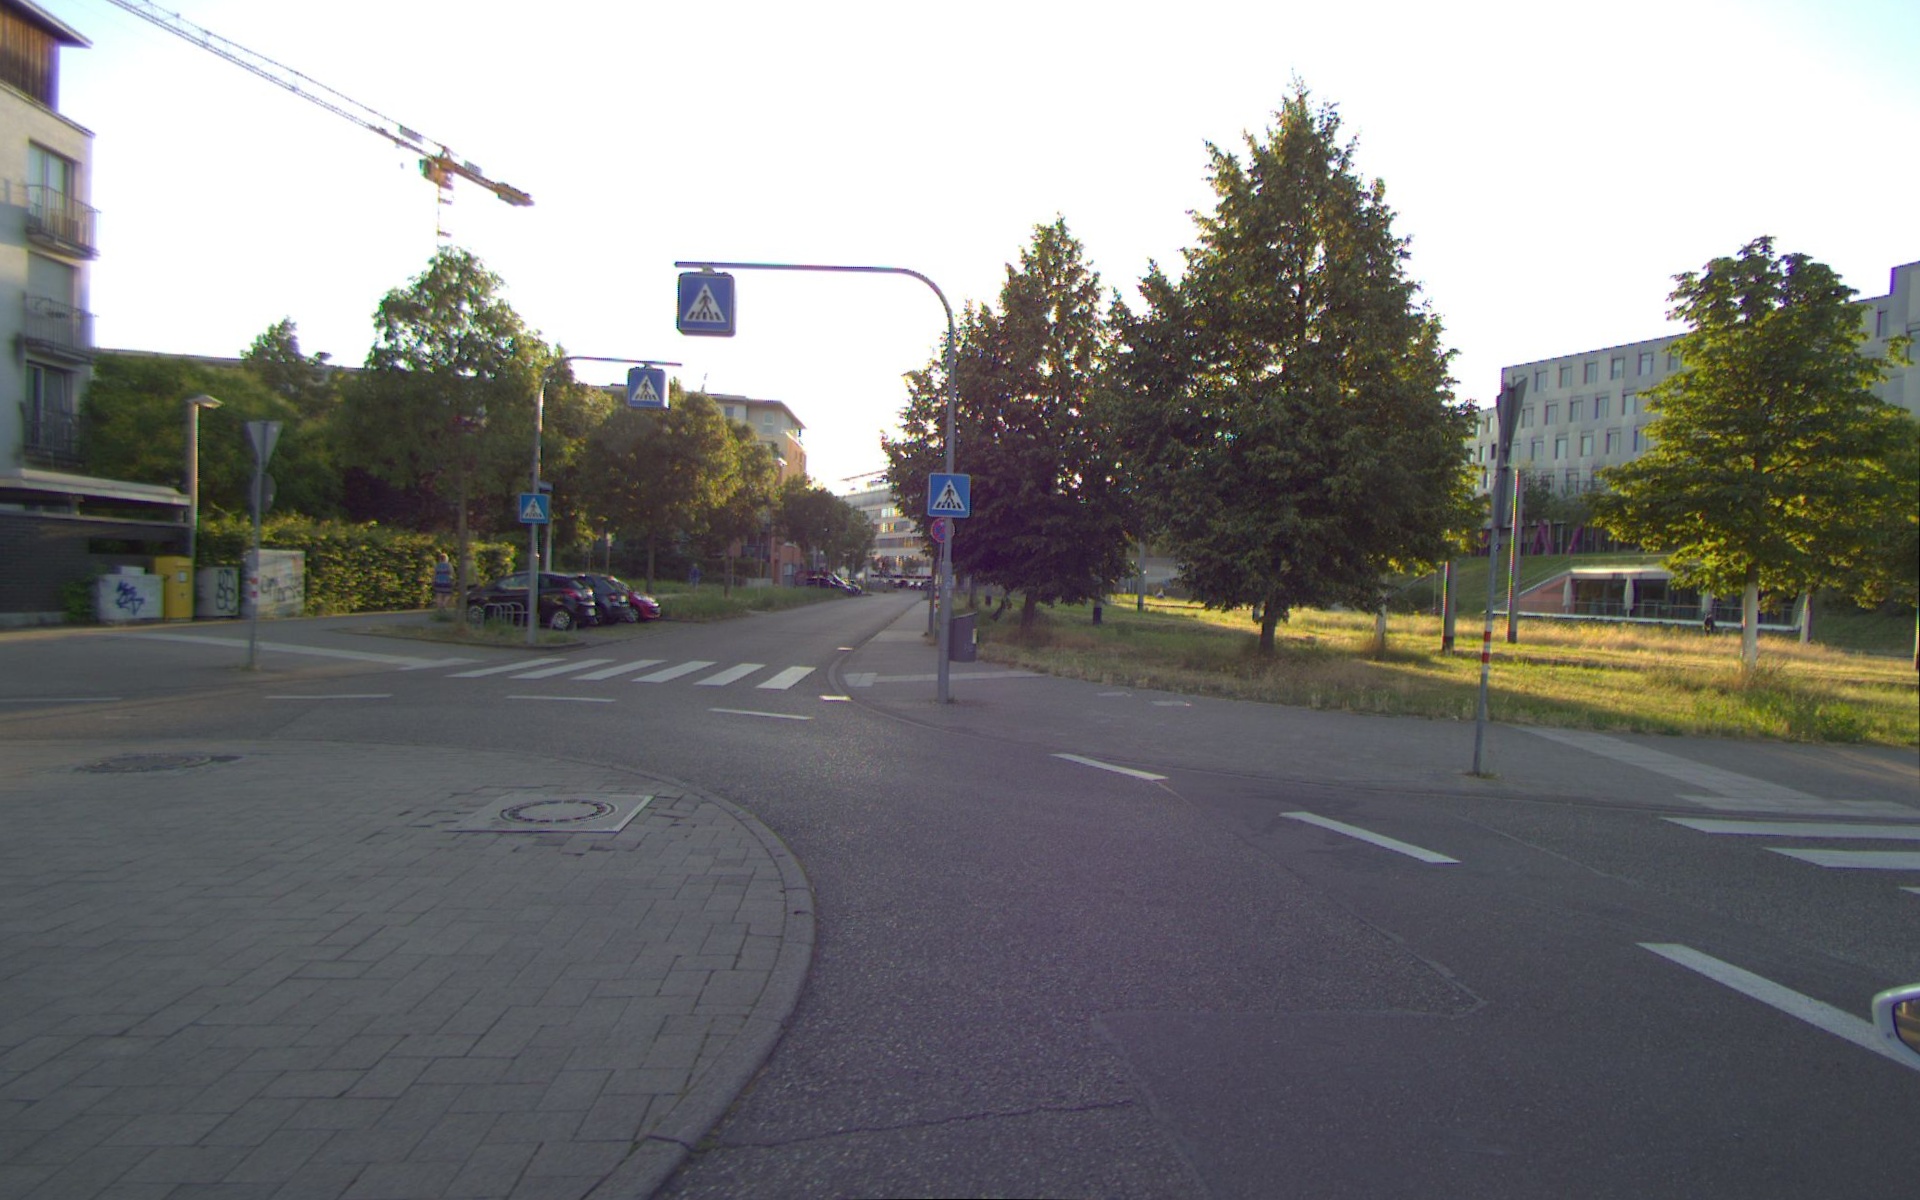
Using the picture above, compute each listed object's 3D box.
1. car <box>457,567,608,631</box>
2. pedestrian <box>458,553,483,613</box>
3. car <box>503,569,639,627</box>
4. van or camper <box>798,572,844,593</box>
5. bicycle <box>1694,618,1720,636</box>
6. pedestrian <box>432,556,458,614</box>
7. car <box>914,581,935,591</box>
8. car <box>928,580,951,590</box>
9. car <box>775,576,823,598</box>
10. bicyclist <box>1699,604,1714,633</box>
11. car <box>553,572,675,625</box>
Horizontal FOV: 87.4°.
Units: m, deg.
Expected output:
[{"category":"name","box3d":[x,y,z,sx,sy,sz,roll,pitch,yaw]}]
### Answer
[{"category":"car","box3d":[-11.554,-0.046,27.312,3.344,1.542,1.690,2,1,-2]},{"category":"pedestrian","box3d":[-14.248,-0.495,29.218,0.616,1.690,0.738,1,3,-28]},{"category":"car","box3d":[-11.354,-0.061,29.460,3.344,1.520,1.594,2,1,-2]},{"category":"van or camper","box3d":[-11.851,-1.472,85.675,3.807,1.717,1.832,1,1,-6]},{"category":"bicycle","box3d":[40.337,1.471,54.251,0.423,0.912,1.235,1,1,-4]},{"category":"pedestrian","box3d":[-14.757,-0.443,28.775,0.648,1.621,0.707,1,3,-28]},{"category":"car","box3d":[-6.438,-2.555,183.617,3.732,1.635,1.651,1,1,-4]},{"category":"car","box3d":[-3.541,-2.603,174.209,3.805,1.635,1.701,1,1,-4]},{"category":"car","box3d":[-13.205,-1.090,82.743,3.807,1.717,1.701,1,1,-7]},{"category":"bicyclist","box3d":[40.344,0.994,54.288,0.416,1.515,0.514,1,1,-3]},{"category":"car","box3d":[-11.064,-0.052,32.255,3.344,1.520,1.594,2,1,-2]}]
